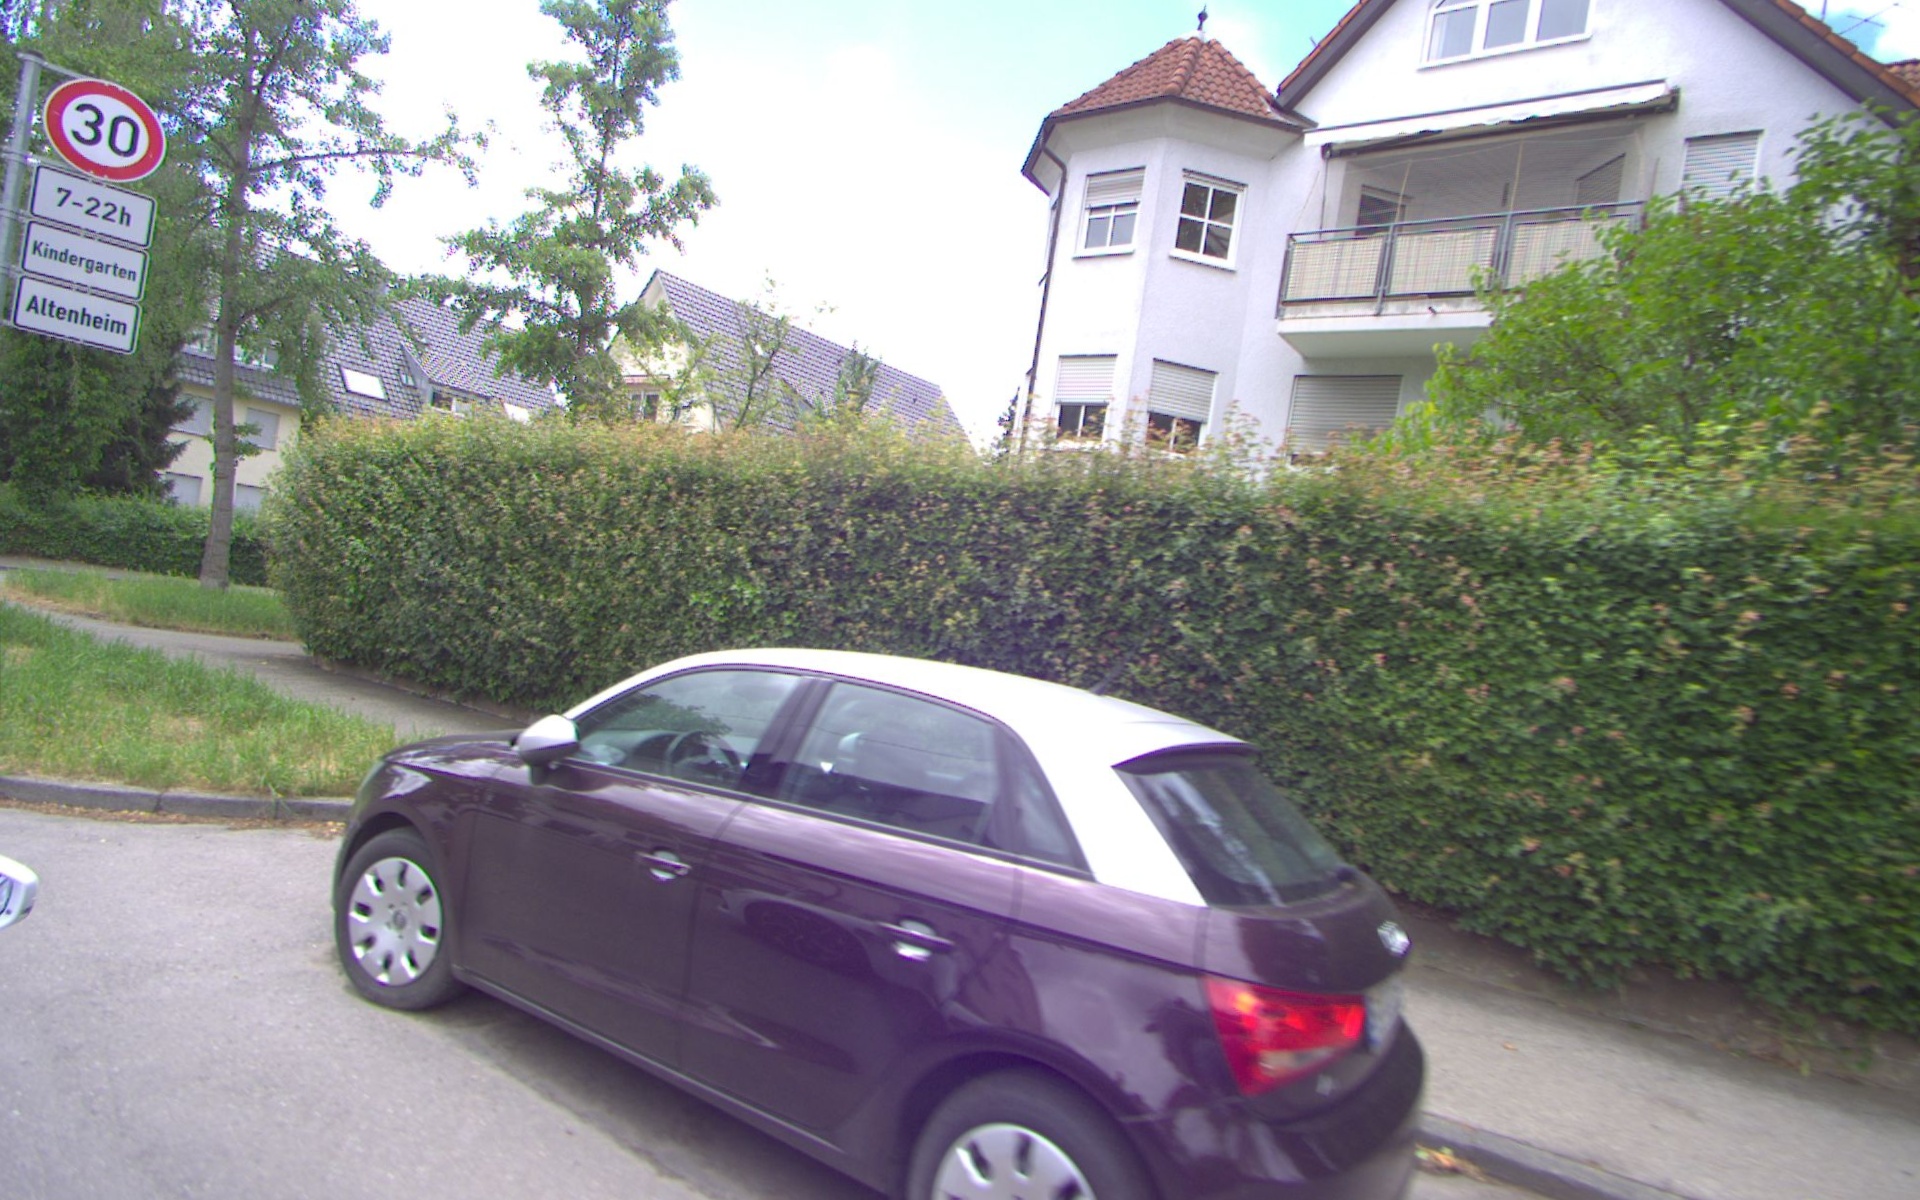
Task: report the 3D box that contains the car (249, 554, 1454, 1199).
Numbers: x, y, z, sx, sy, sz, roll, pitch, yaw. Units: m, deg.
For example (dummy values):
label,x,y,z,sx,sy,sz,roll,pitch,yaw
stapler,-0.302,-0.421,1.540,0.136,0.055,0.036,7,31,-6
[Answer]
label,x,y,z,sx,sy,sz,roll,pitch,yaw
car,-0.507,0.834,3.478,3.727,1.428,1.714,7,-3,31
